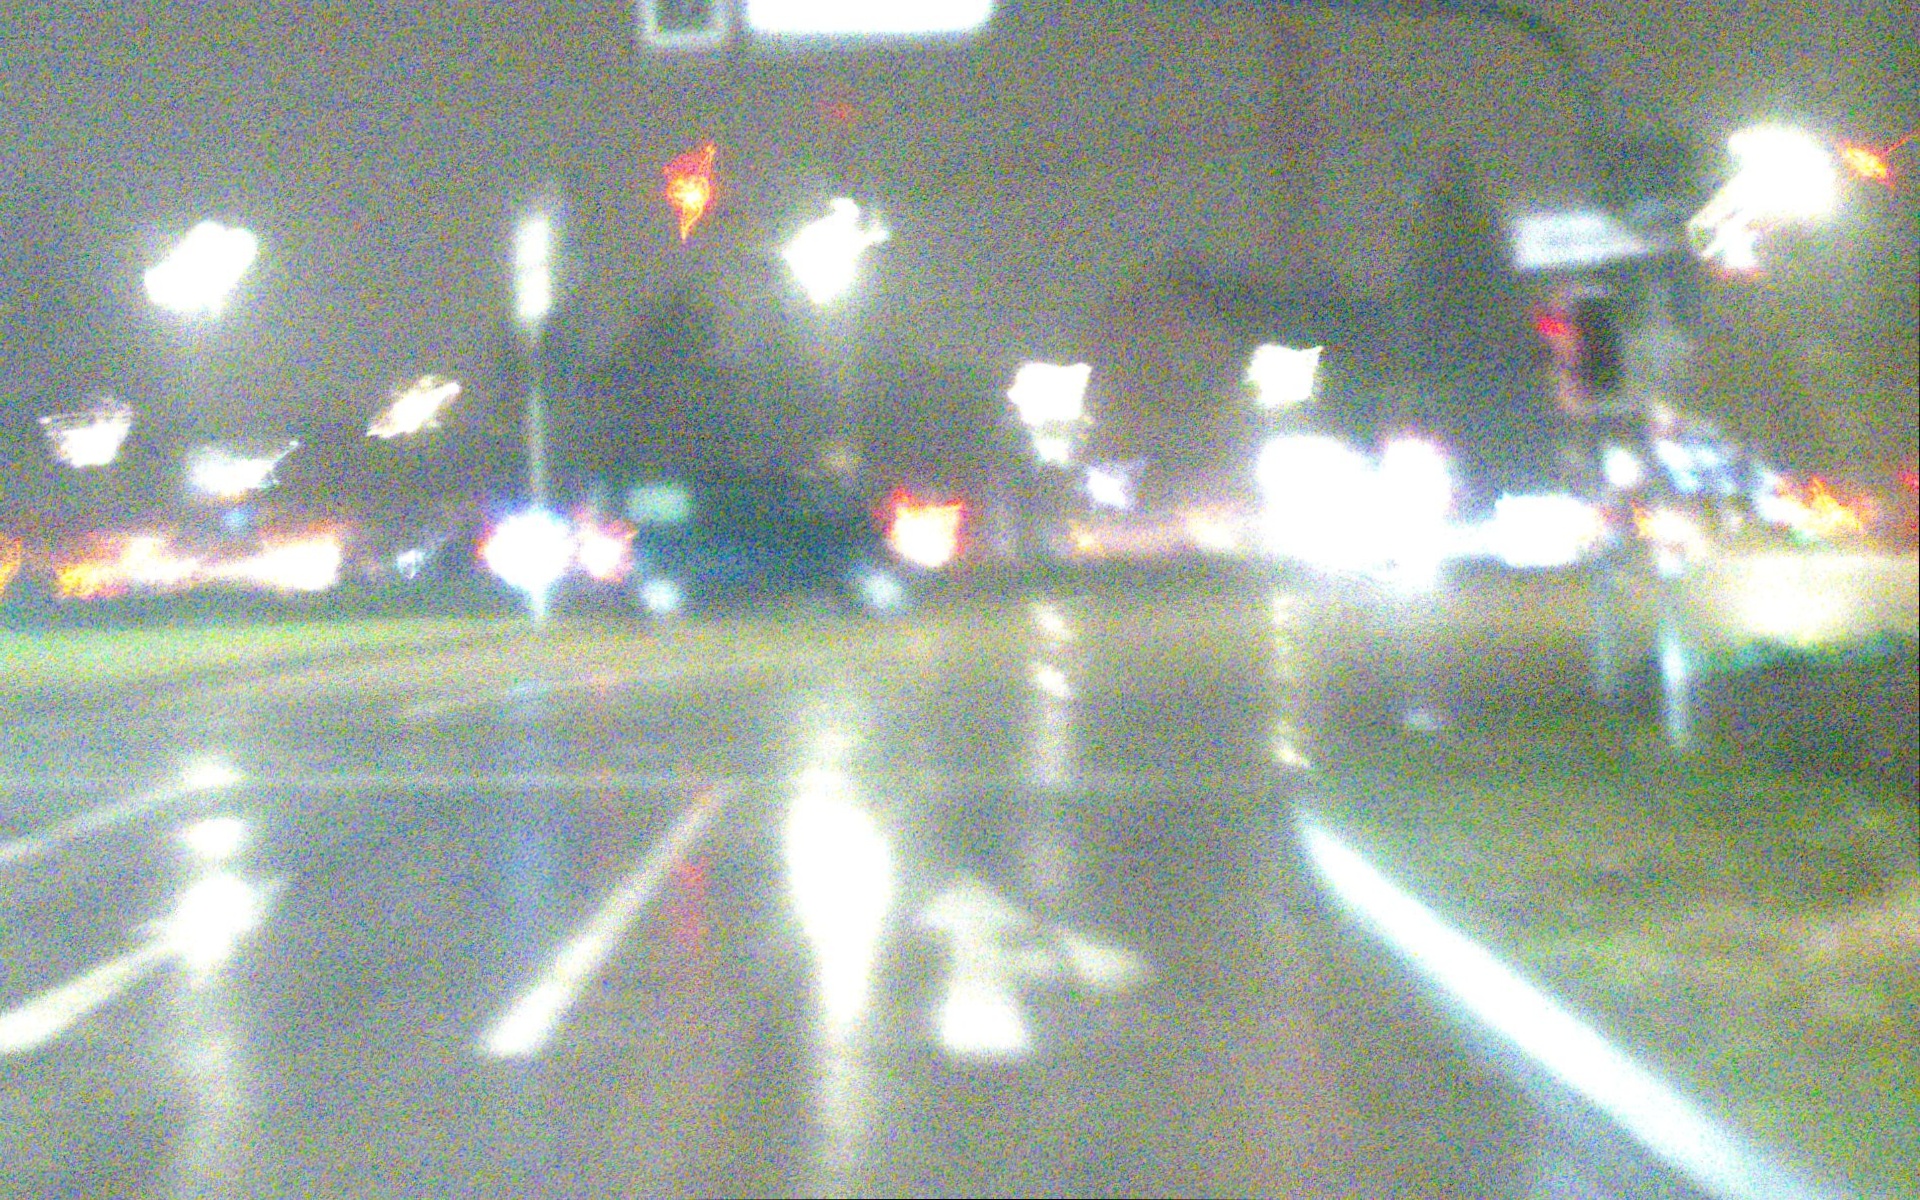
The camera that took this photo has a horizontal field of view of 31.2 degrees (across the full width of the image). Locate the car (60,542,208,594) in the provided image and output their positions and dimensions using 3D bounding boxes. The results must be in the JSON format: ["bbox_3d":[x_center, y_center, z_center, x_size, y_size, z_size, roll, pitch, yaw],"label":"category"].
[{"bbox_3d":[-23.696,-0.929,98.740,3.986,1.481,1.770,0,1,-9],"label":"car"}]

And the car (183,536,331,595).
[{"bbox_3d":[-19.536,-0.968,95.525,3.986,1.610,1.837,0,1,-13],"label":"car"}]

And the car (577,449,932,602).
[{"bbox_3d":[-2.813,-1.016,46.648,4.541,2.007,2.001,0,1,-12],"label":"car"}]

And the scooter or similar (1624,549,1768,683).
[{"bbox_3d":[6.189,0.136,28.913,1.102,1.094,0.317,-2,0,28],"label":"scooter or similar"}]

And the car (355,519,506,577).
[{"bbox_3d":[-14.691,-1.455,95.524,3.951,1.573,1.737,0,1,-2],"label":"car"}]

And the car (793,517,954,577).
[{"bbox_3d":[-2.360,-1.439,93.505,3.992,1.610,1.834,0,1,25],"label":"car"}]

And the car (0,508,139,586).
[{"bbox_3d":[-25.731,-1.451,93.339,6.292,2.082,2.516,-1,1,-25],"label":"car"}]
